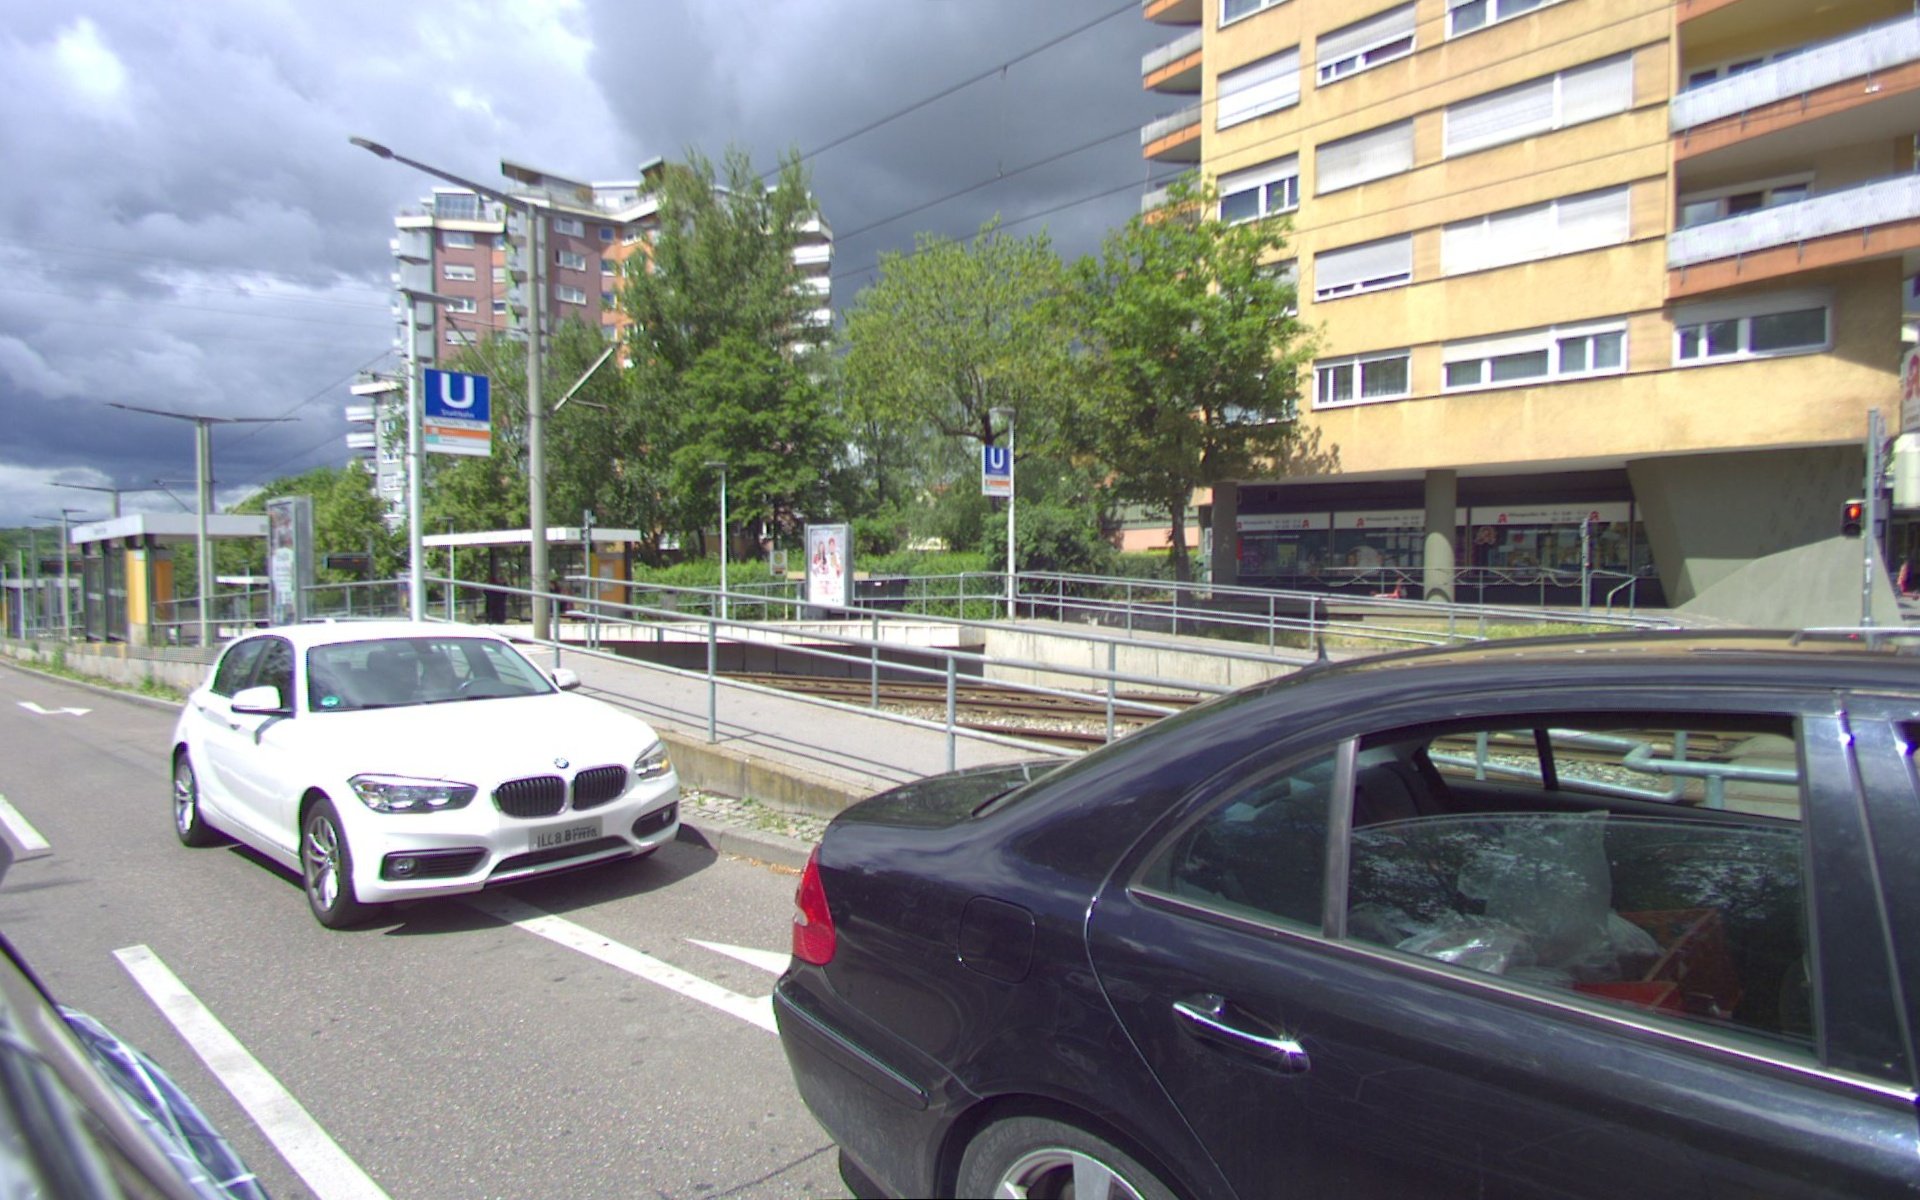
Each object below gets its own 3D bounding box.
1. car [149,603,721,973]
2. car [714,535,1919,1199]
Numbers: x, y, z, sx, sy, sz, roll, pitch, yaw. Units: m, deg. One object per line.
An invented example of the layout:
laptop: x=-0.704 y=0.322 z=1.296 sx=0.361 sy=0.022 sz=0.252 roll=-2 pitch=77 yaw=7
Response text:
car: x=-3.337 y=0.784 z=6.069 sx=3.998 sy=1.472 sz=1.710 roll=-1 pitch=0 yaw=41
car: x=1.717 y=0.660 z=1.417 sx=4.542 sy=1.472 sz=1.710 roll=-1 pitch=0 yaw=41
